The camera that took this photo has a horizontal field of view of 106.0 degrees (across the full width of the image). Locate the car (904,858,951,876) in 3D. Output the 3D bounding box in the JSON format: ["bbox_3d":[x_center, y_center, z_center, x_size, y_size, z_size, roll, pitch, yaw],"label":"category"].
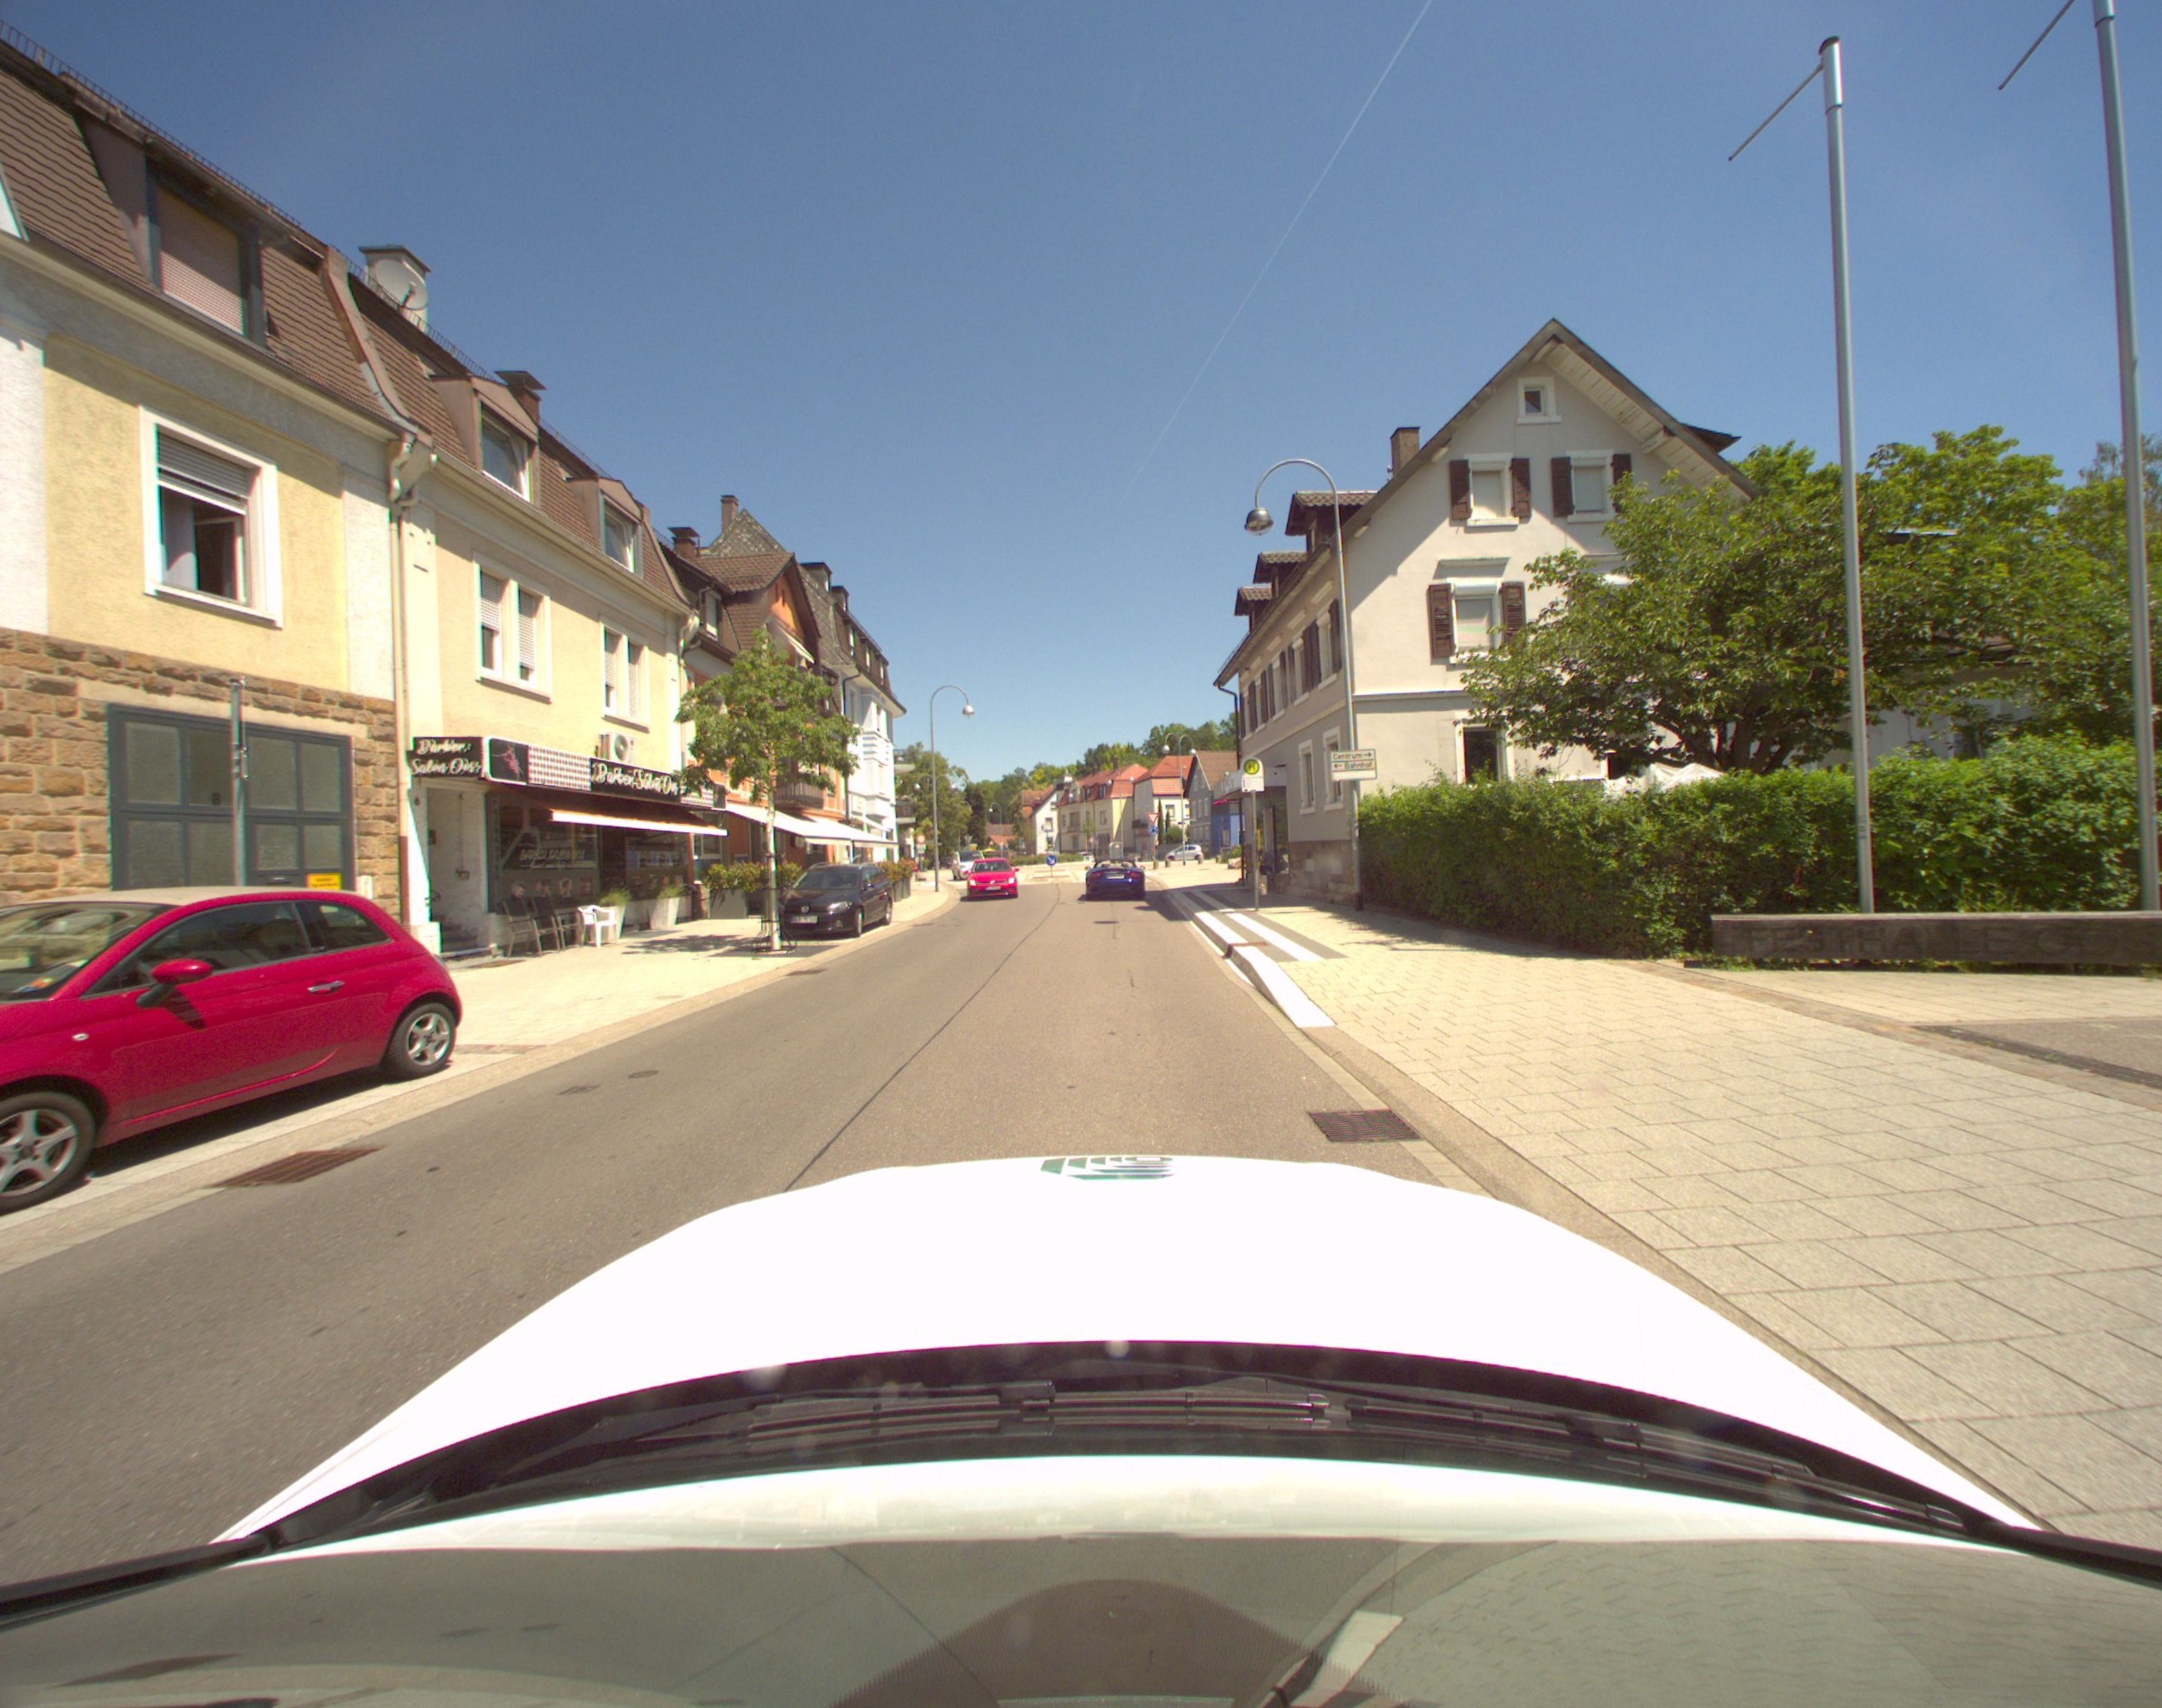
[{"bbox_3d":[-12.996,1.095,69.036,3.753,1.332,1.804,-2,0,-17],"label":"car"}]

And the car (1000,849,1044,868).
[{"bbox_3d":[-4.650,0.366,63.581,2.004,1.329,4.164,-3,0,-26],"label":"car"}]

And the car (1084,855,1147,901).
[{"bbox_3d":[1.147,0.743,27.173,1.903,1.360,4.288,-1,0,2],"label":"car"}]

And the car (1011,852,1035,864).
[{"bbox_3d":[-8.540,0.584,119.967,1.862,1.588,3.962,-3,0,-29],"label":"car"}]

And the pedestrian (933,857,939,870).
[{"bbox_3d":[-18.496,1.191,103.789,0.531,1.576,0.564,-3,0,11],"label":"pedestrian"}]

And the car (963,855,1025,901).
[{"bbox_3d":[-3.110,0.819,29.854,1.911,1.426,3.976,-4,0,-3],"label":"car"}]

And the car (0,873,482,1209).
[{"bbox_3d":[-5.769,0.913,5.007,1.554,1.521,3.515,-1,-1,0],"label":"car"}]

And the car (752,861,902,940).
[{"bbox_3d":[-5.389,0.915,17.930,1.909,1.481,4.337,0,0,0],"label":"car"}]

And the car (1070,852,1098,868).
[{"bbox_3d":[0.343,0.748,92.685,1.924,1.613,4.120,-3,-1,-19],"label":"car"}]

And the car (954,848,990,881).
[{"bbox_3d":[-6.689,0.636,49.744,1.993,1.822,4.403,-3,0,-8],"label":"car"}]

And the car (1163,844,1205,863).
[{"bbox_3d":[9.031,-0.071,71.090,3.435,1.450,1.586,-3,0,12],"label":"car"}]

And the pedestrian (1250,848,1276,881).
[{"bbox_3d":[5.621,0.318,25.191,0.588,0.999,0.724,-3,0,-1],"label":"pedestrian"}]
